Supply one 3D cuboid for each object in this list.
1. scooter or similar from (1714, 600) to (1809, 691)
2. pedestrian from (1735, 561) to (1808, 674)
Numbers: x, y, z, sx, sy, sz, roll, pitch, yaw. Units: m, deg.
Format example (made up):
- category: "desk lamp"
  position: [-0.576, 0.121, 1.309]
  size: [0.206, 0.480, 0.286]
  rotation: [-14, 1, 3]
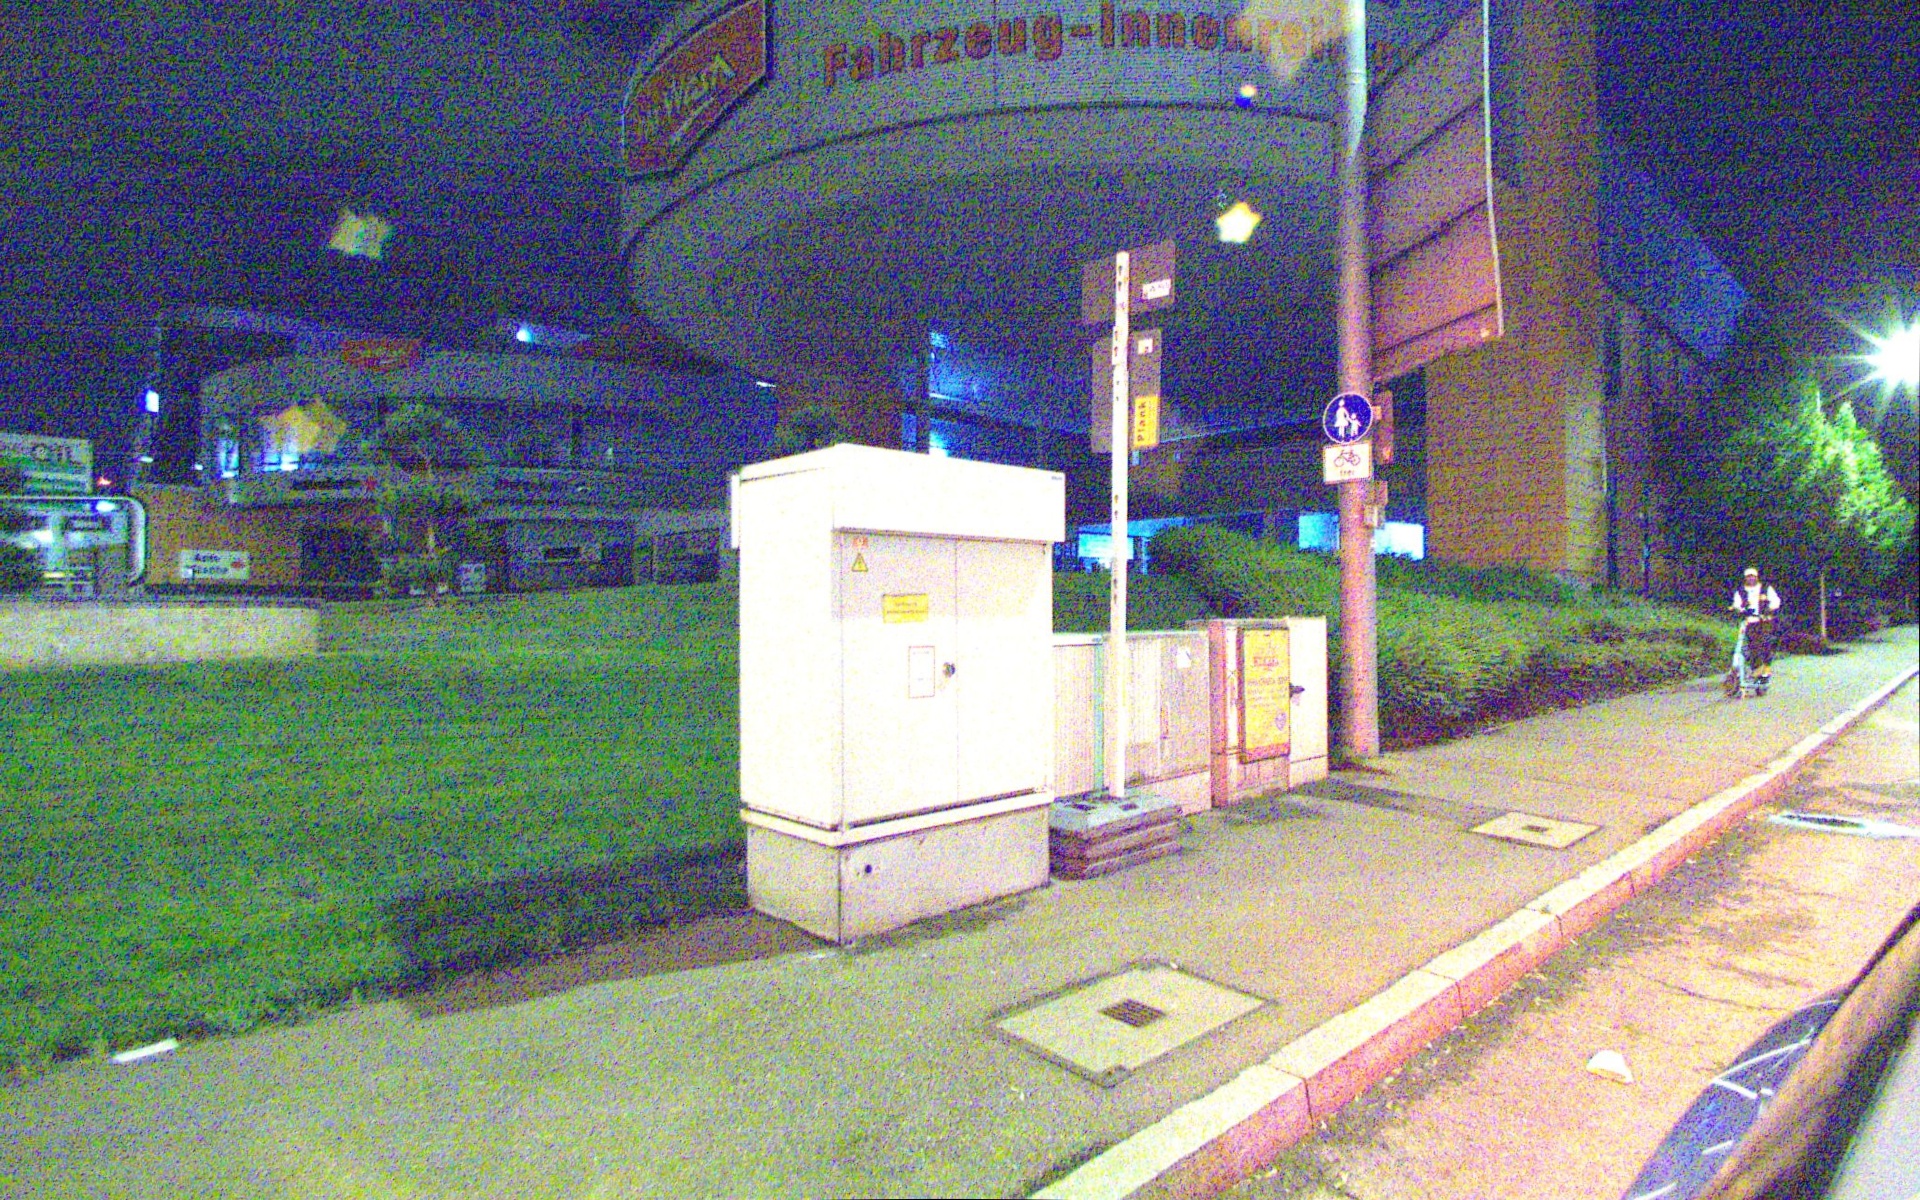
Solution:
- category: "scooter or similar"
  position: [11.042, 0.618, 13.946]
  size: [1.111, 1.217, 0.470]
  rotation: [1, -1, -17]
- category: "pedestrian"
  position: [14.126, 0.282, 17.611]
  size: [1.016, 1.888, 0.819]
  rotation: [0, 0, -41]
